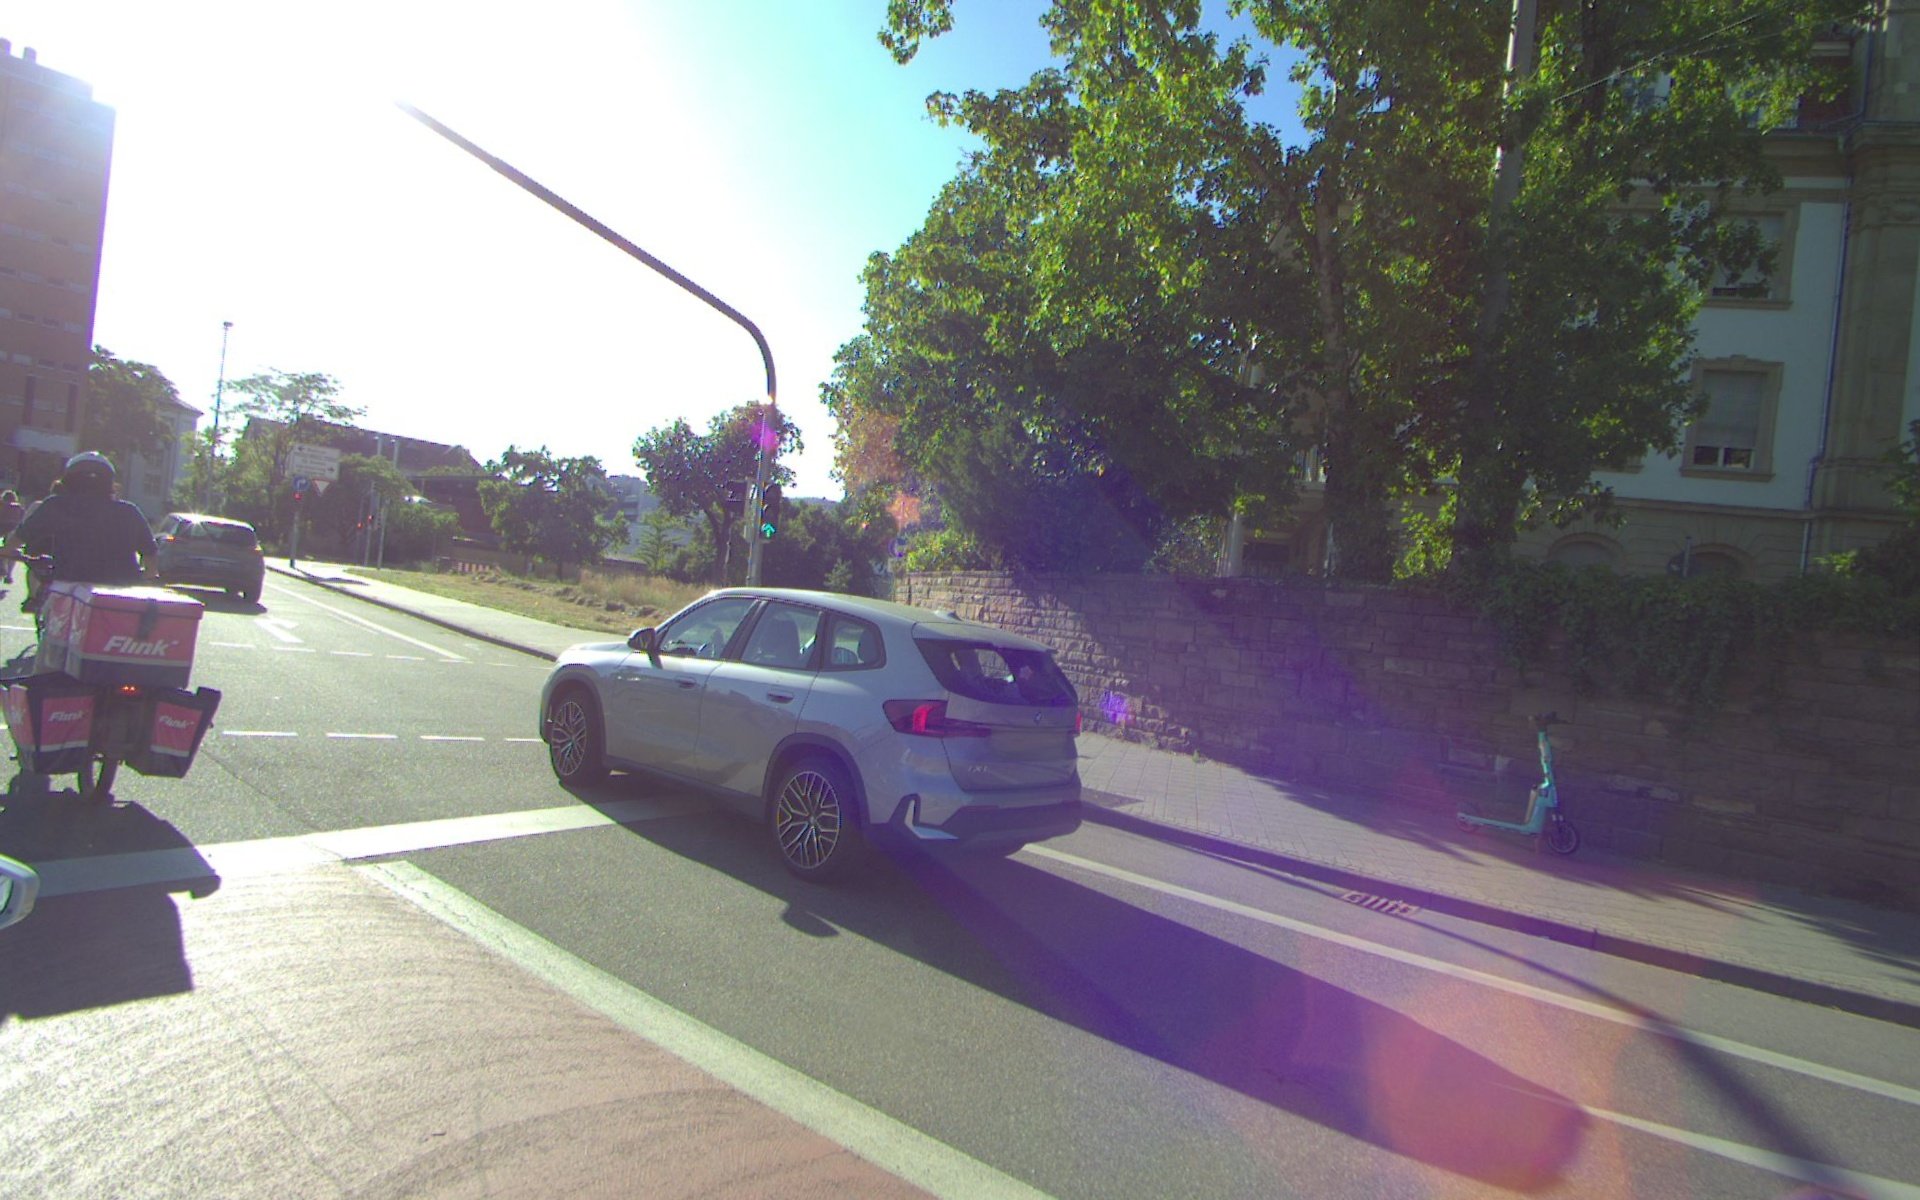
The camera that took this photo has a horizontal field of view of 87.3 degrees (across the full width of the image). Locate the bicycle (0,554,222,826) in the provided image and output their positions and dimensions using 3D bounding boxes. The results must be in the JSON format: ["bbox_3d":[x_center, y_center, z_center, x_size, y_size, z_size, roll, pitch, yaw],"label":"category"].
[{"bbox_3d":[-4.932,0.414,5.647,2.337,1.184,0.554,5,-2,38],"label":"bicycle"}]

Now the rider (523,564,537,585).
[{"bbox_3d":[-35.166,-2.095,82.283,0.746,1.616,0.585,8,-2,-31],"label":"rider"}]

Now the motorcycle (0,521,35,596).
[{"bbox_3d":[-15.590,-0.710,16.361,2.330,1.110,0.612,5,-3,45],"label":"motorcycle"}]

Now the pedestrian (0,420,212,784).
[{"bbox_3d":[-5.076,0.018,5.789,0.941,1.890,0.807,6,-2,36],"label":"pedestrian"}]

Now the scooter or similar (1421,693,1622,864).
[{"bbox_3d":[5.157,1.605,9.315,0.571,1.285,1.411,6,0,-35],"label":"scooter or similar"}]

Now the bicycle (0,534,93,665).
[{"bbox_3d":[-9.254,-0.035,10.151,0.562,1.164,1.926,8,-3,-44],"label":"bicycle"}]

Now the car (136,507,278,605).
[{"bbox_3d":[-16.452,-0.970,21.901,1.827,1.708,4.315,9,-3,-44],"label":"car"}]

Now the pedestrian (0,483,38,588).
[{"bbox_3d":[-15.555,-1.066,16.385,1.012,1.616,0.586,5,-2,45],"label":"pedestrian"}]

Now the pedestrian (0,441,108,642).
[{"bbox_3d":[-9.262,-0.577,10.251,0.657,1.890,0.862,8,-2,-43],"label":"pedestrian"}]

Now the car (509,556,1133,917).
[{"bbox_3d":[-1.184,0.714,7.030,4.268,1.612,1.786,5,-3,40],"label":"car"}]
